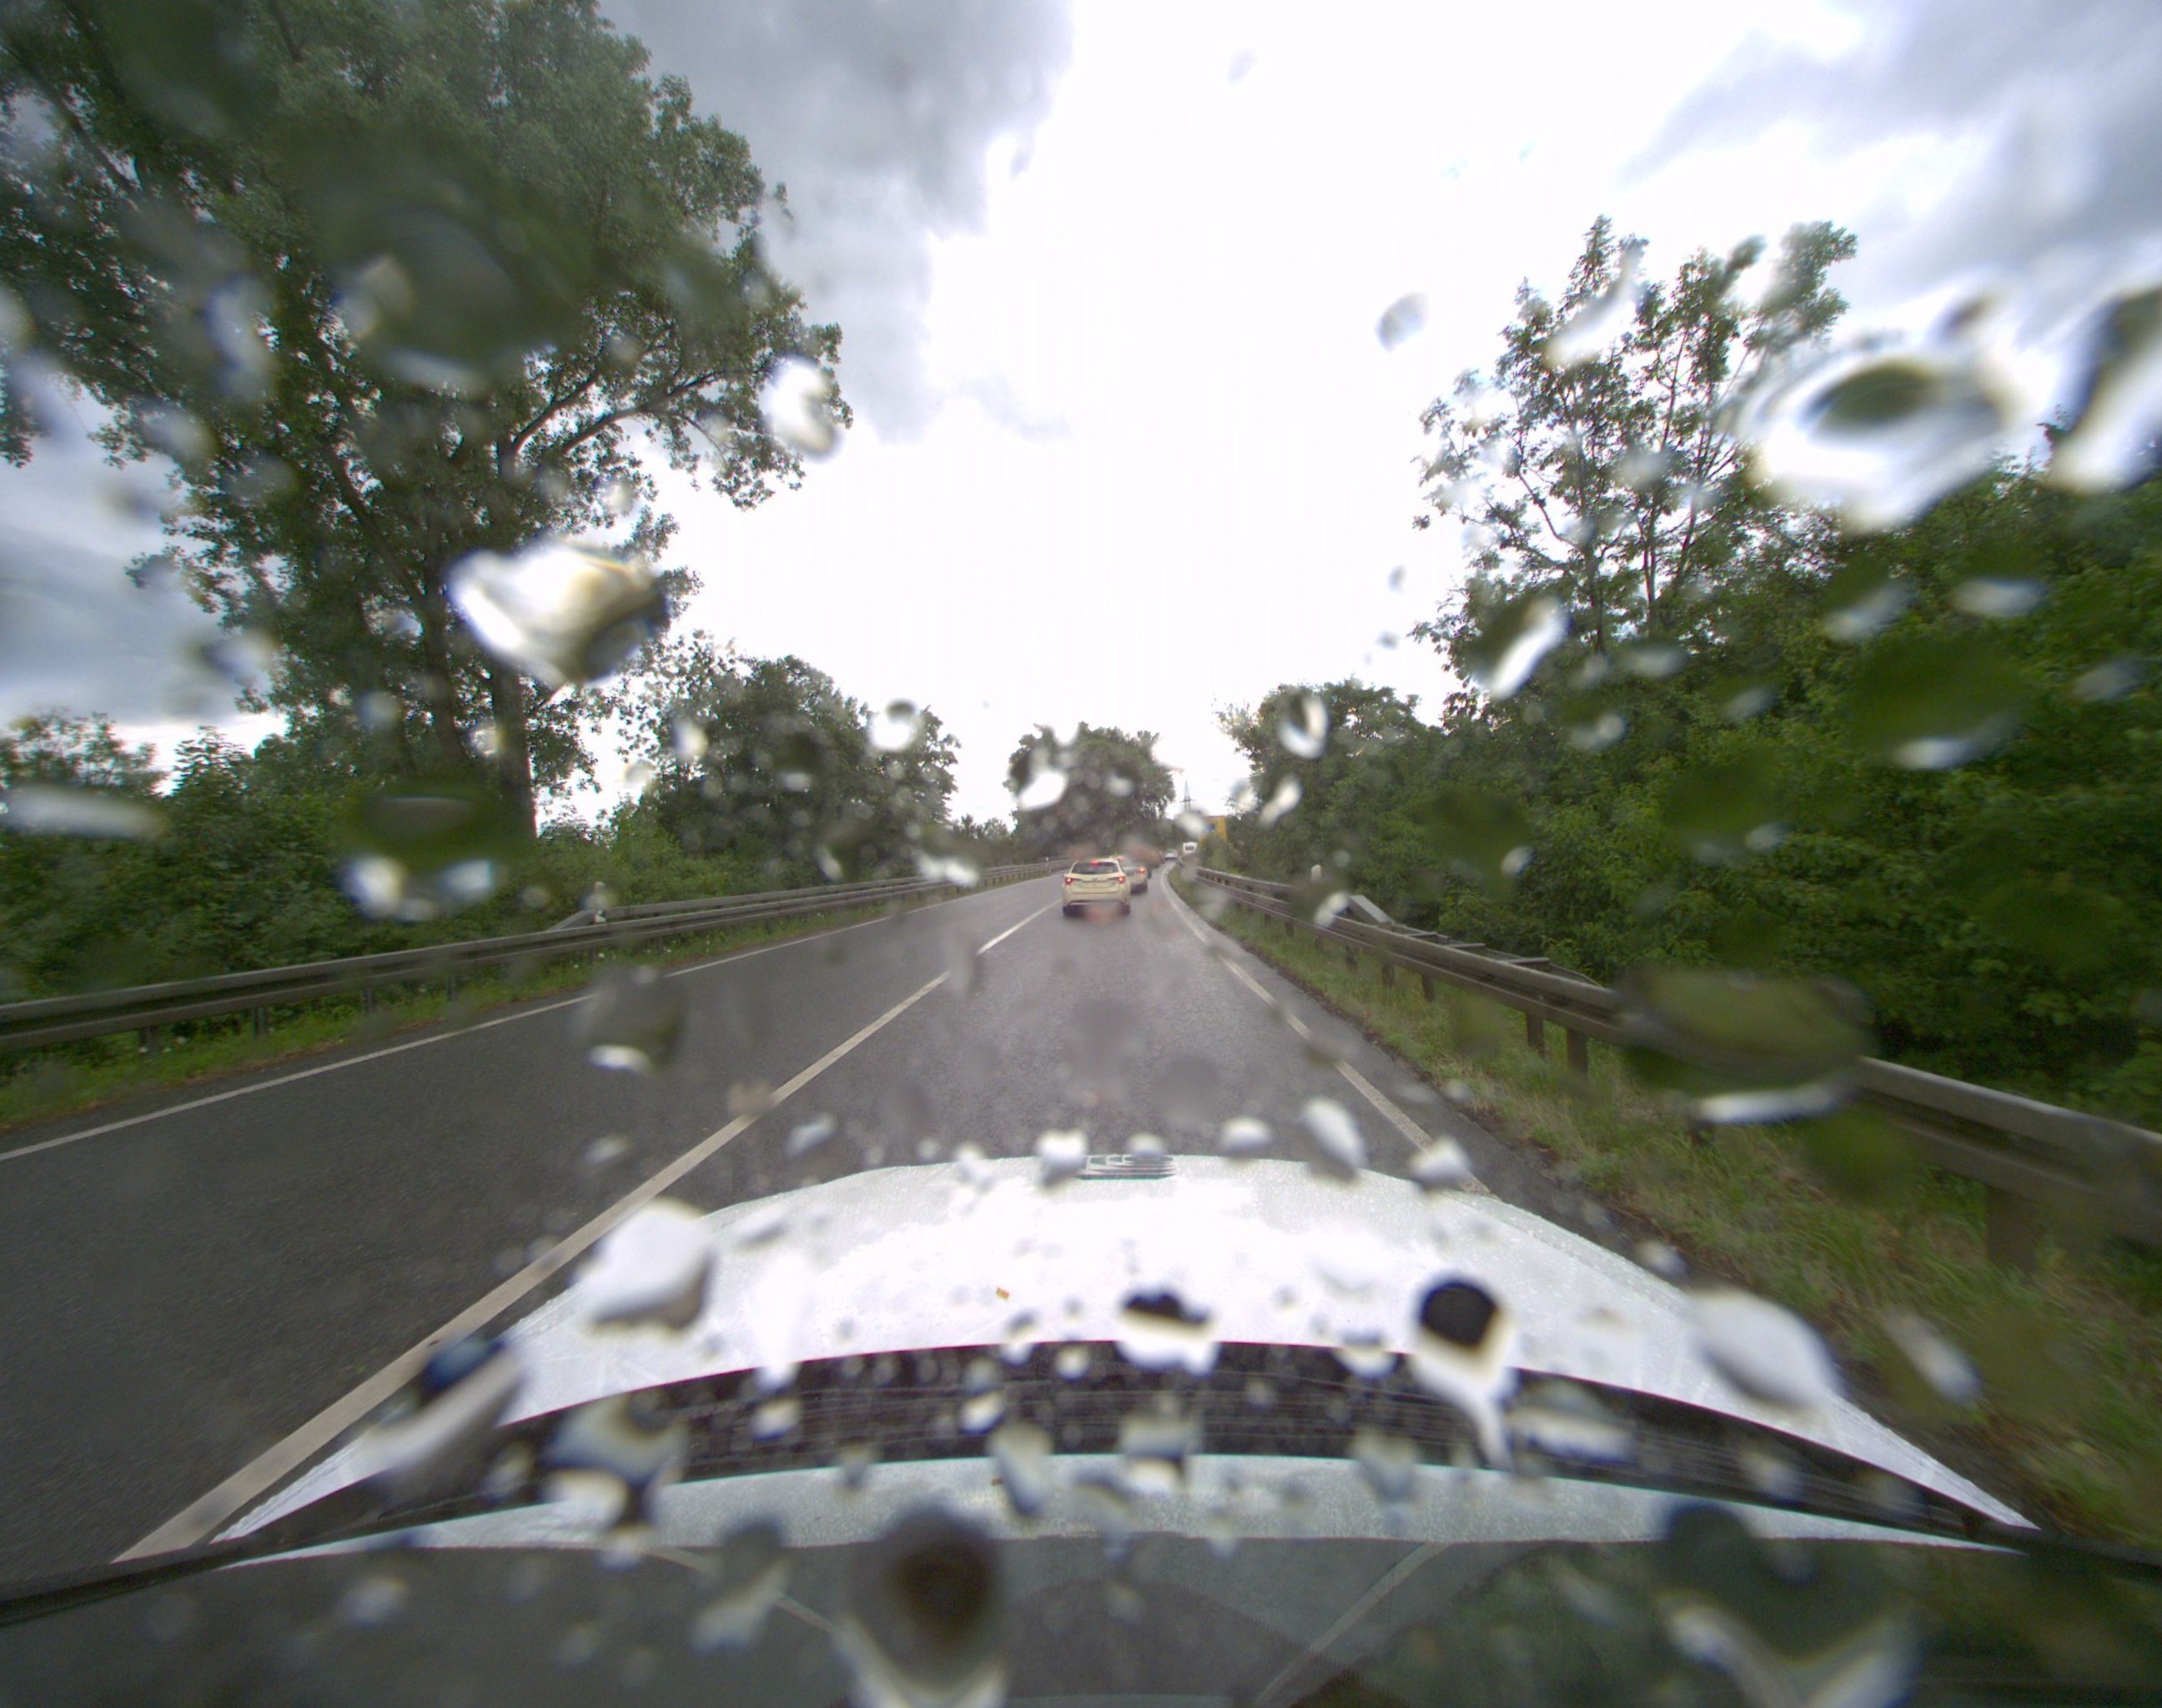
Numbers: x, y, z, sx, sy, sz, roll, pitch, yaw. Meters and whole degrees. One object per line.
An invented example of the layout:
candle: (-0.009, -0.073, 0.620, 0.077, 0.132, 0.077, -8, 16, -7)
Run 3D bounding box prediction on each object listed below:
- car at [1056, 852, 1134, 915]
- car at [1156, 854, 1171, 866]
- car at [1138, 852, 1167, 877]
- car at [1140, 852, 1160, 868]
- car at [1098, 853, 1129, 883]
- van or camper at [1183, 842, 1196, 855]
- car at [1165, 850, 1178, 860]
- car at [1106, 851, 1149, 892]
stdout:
car: (0.483, 0.731, 22.337, 1.897, 1.537, 4.166, -1, 0, 4)
car: (9.437, 0.681, 93.557, 1.474, 1.309, 3.486, -1, 0, 9)
car: (4.454, 0.656, 51.169, 1.658, 1.464, 3.480, -1, 0, 3)
car: (6.395, 0.591, 75.161, 1.652, 1.409, 3.910, -1, -1, 6)
car: (1.668, 0.689, 41.573, 1.499, 1.437, 3.358, -1, 0, 3)
van or camper: (18.602, -0.921, 139.940, 1.981, 2.254, 4.011, -1, -1, 10)
car: (12.257, 0.094, 110.441, 1.473, 1.309, 3.487, -1, 0, 10)
car: (1.913, 0.669, 32.935, 1.570, 1.572, 3.686, -1, 0, 5)
